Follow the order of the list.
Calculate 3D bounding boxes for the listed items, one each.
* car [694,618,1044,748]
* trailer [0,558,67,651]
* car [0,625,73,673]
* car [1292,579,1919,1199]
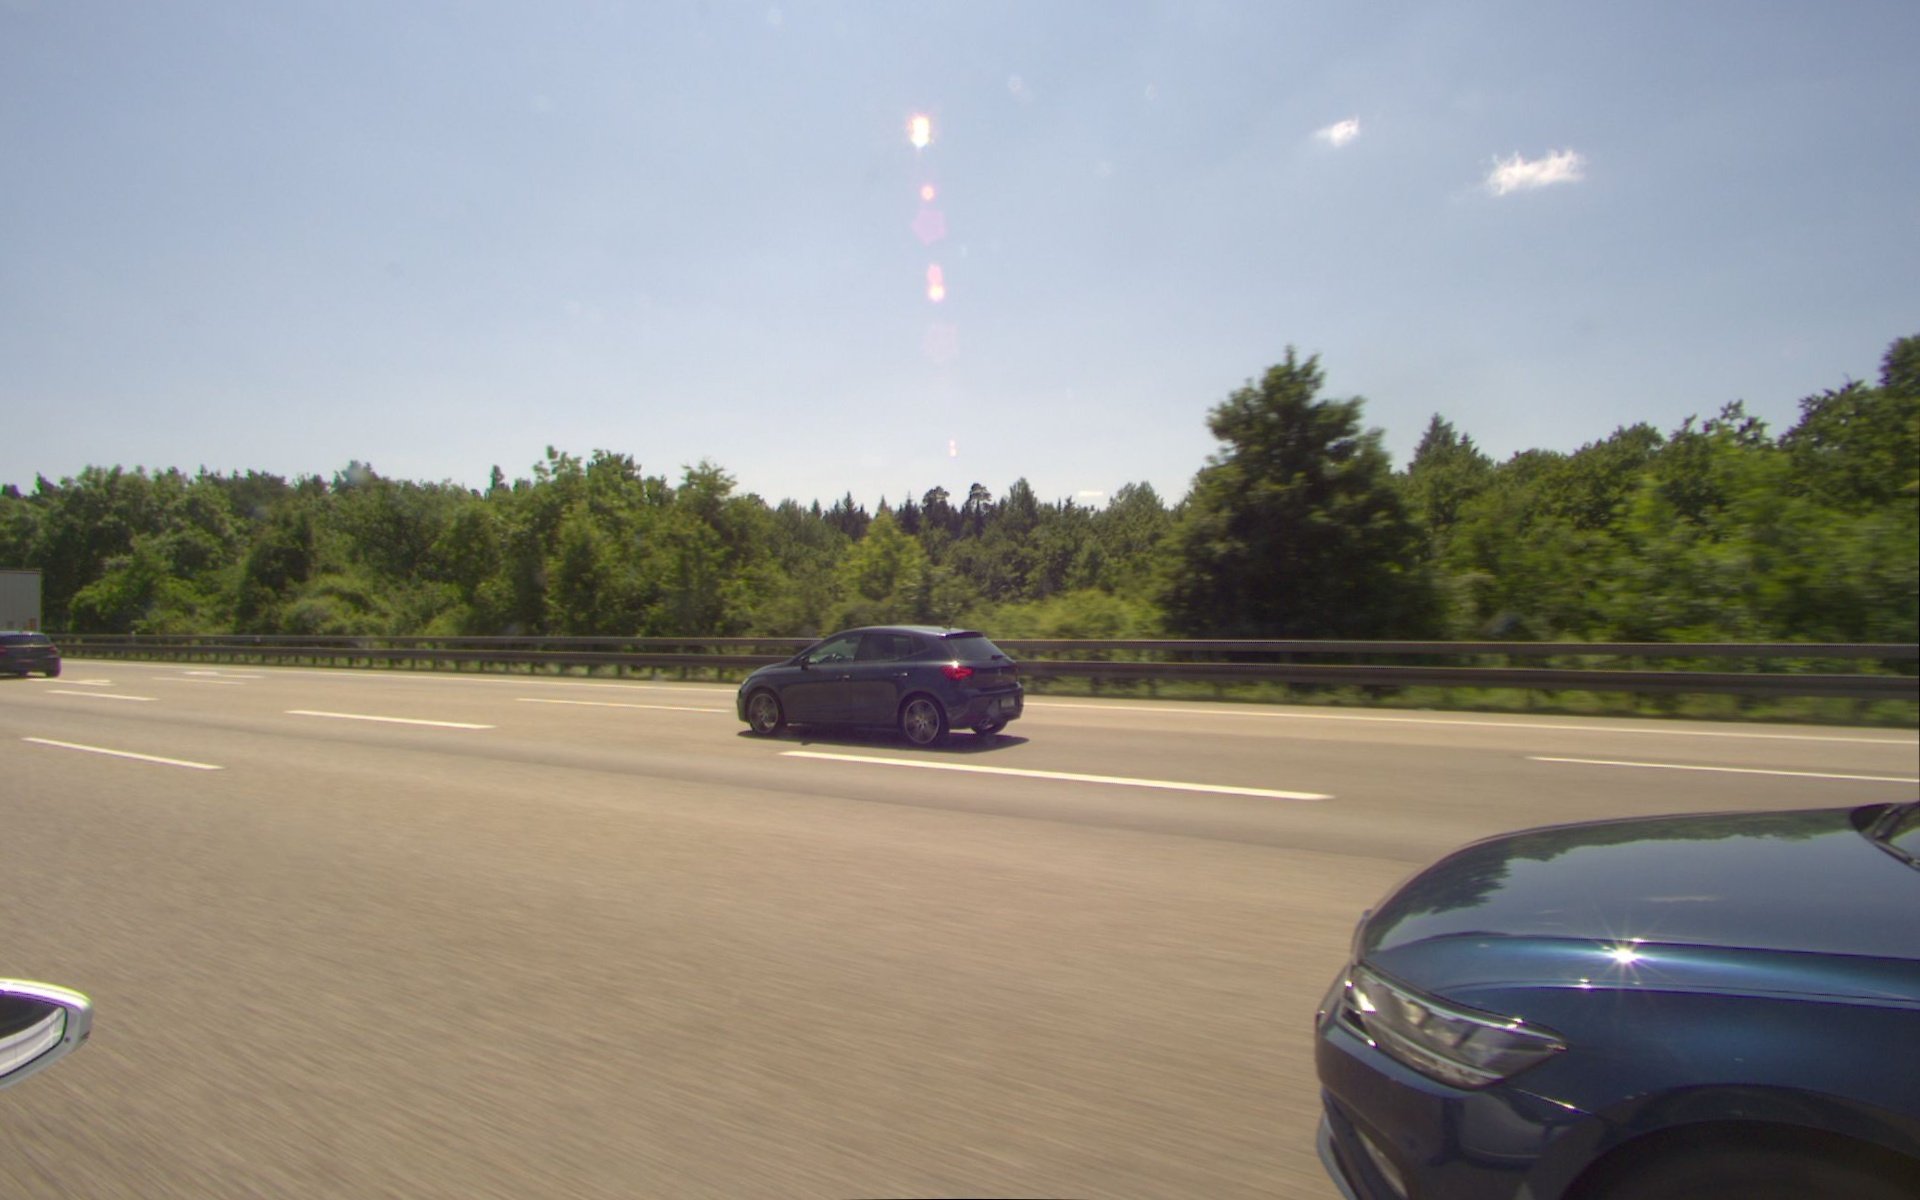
[{"bbox_3d":[-1.291,0.983,13.238,4.568,1.457,1.640,0,-1,32],"label":"car"},{"bbox_3d":[-46.858,0.249,47.276,13.688,3.981,3.282,0,-1,32],"label":"trailer"},{"bbox_3d":[-29.167,1.462,30.829,4.228,1.291,1.667,0,1,32],"label":"car"},{"bbox_3d":[3.148,0.682,1.311,4.891,1.466,1.726,-1,0,33],"label":"car"}]
